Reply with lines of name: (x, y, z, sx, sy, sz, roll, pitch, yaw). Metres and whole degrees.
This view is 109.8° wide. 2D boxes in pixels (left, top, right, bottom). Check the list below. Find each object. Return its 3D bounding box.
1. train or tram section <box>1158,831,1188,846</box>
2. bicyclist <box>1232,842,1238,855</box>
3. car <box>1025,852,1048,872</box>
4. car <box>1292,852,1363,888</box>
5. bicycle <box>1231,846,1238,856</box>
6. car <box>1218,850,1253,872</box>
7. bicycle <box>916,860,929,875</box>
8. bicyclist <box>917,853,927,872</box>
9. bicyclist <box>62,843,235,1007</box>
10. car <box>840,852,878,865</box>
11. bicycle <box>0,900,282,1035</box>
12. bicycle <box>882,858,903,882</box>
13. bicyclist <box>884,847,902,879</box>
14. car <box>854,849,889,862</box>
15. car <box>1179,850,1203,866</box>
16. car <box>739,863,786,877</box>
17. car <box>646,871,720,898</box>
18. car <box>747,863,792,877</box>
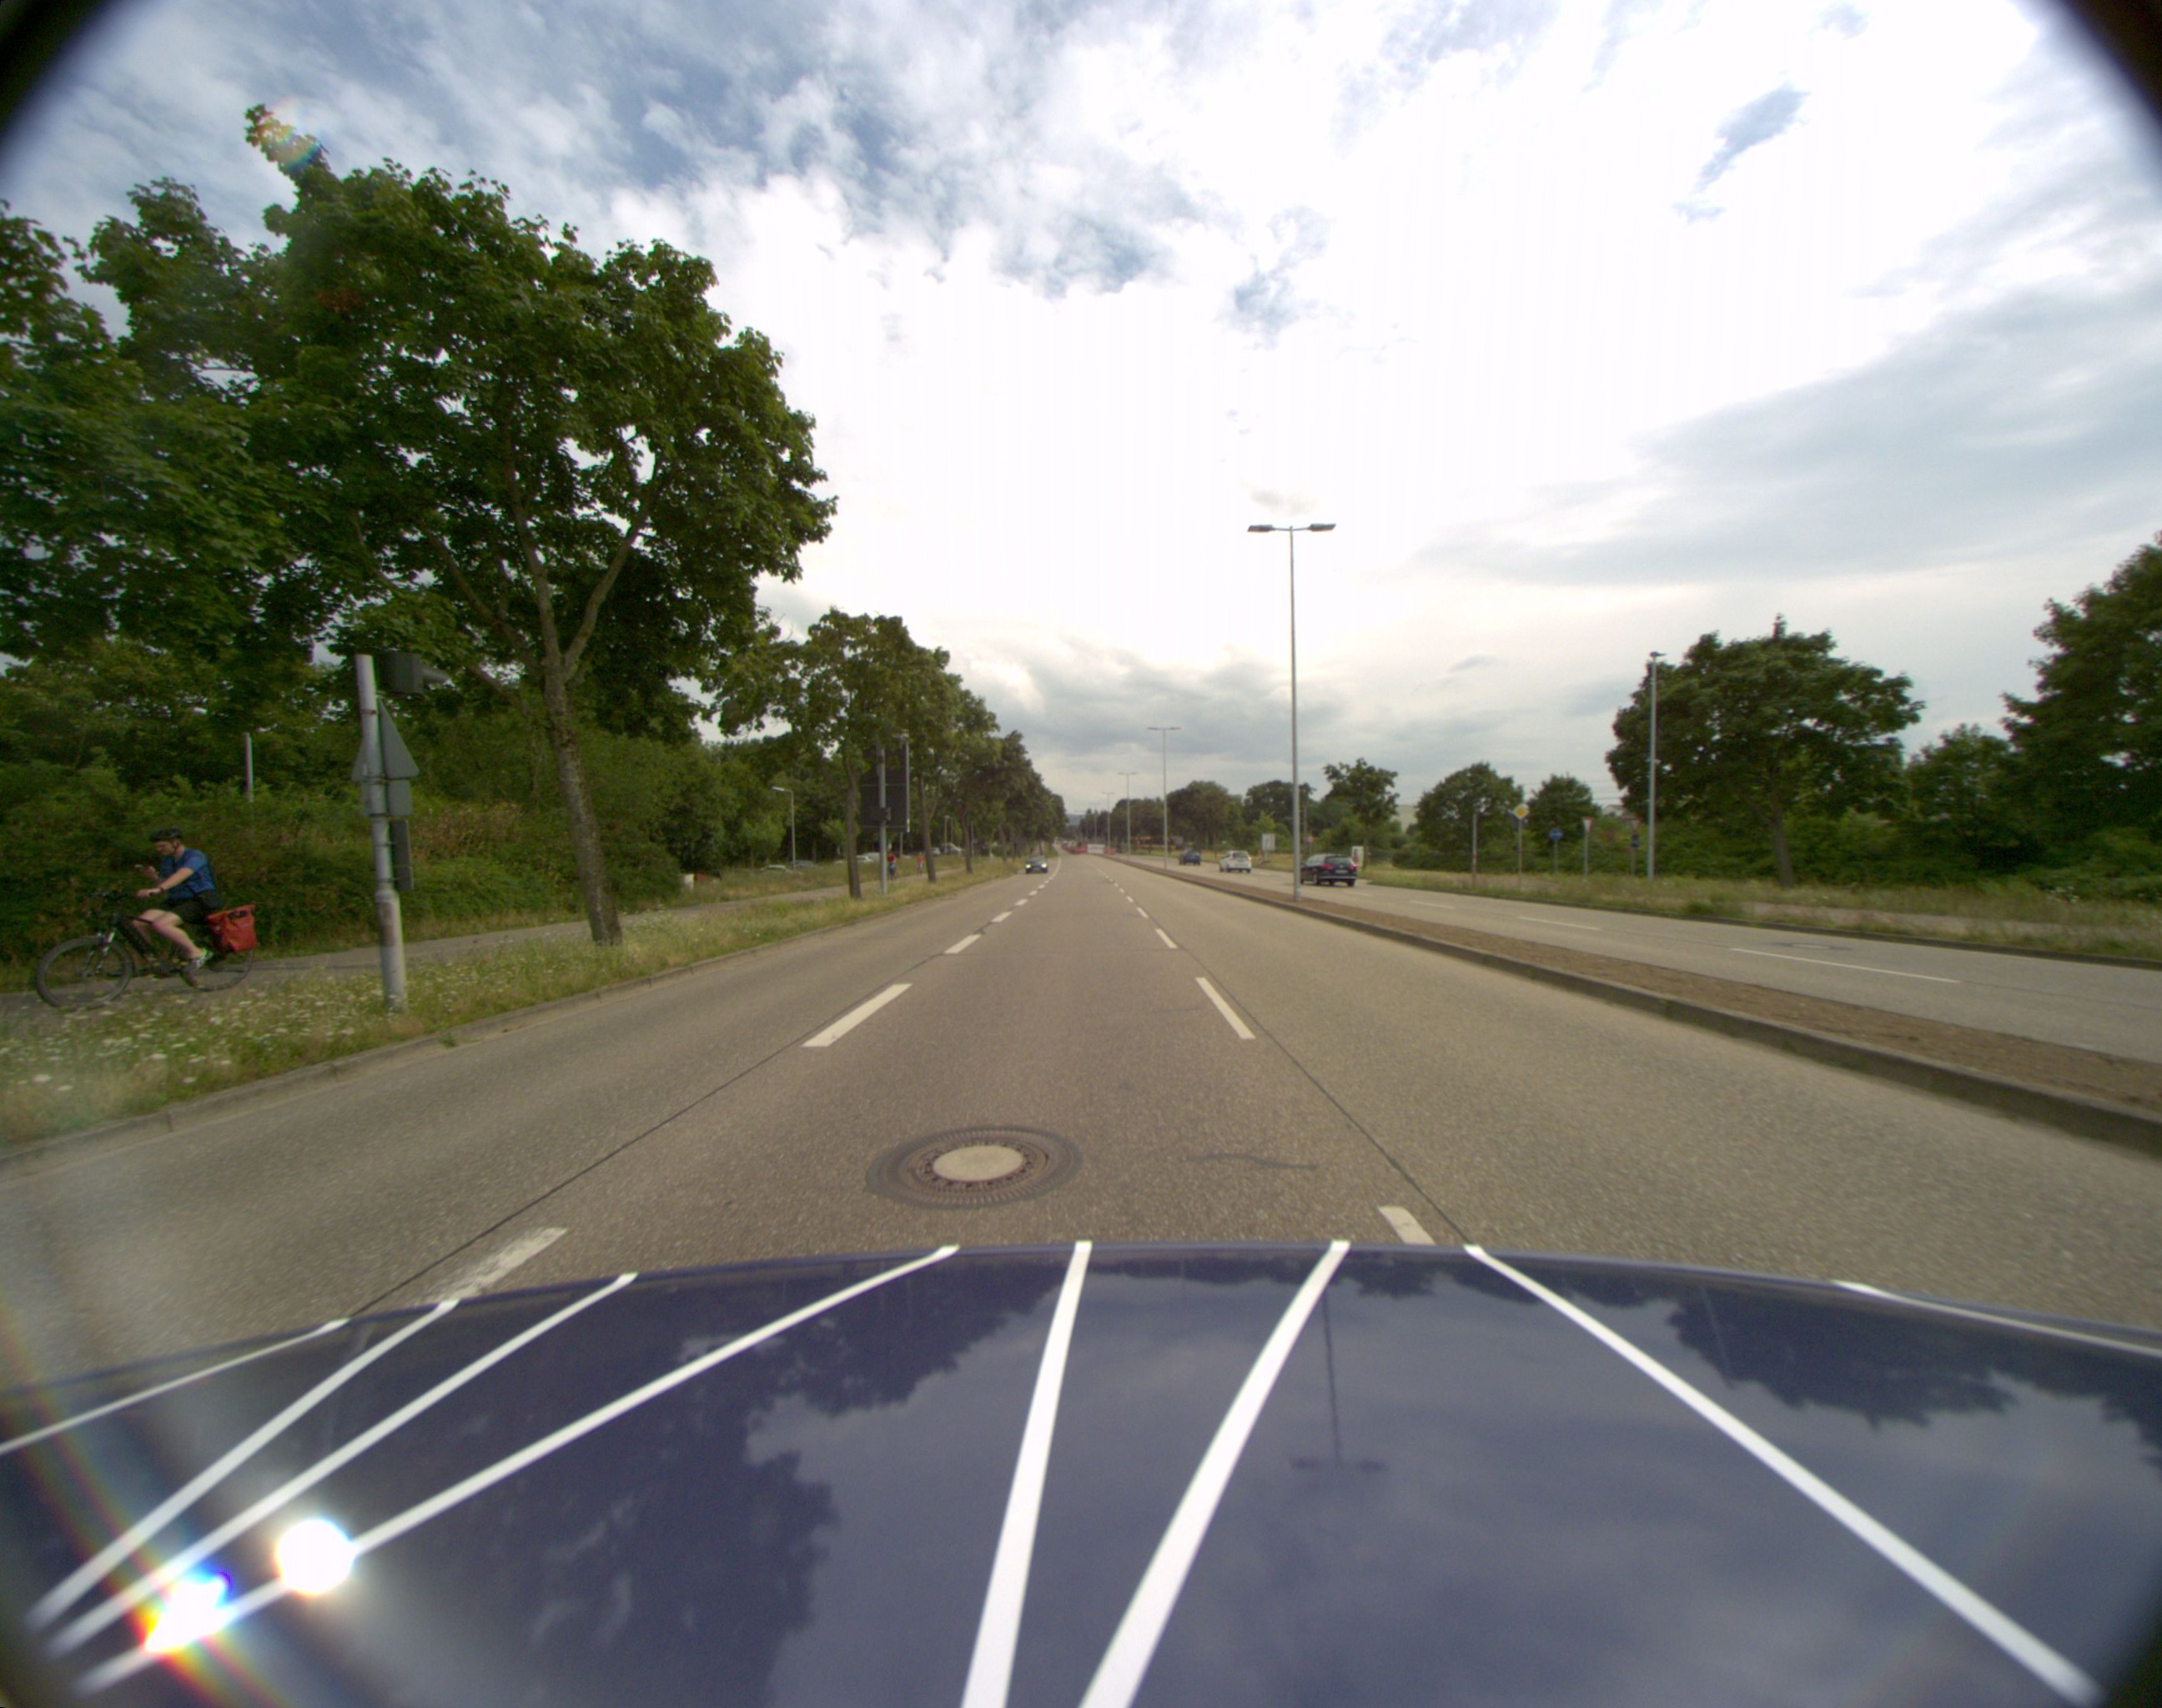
train or tram section: (21.952, -3.593, 182.840, 2.924, 3.402, 11.929, -2, 1, -15)
bicyclist: (21.822, -0.808, 107.958, 0.645, 1.821, 0.819, 0, 1, 0)
car: (-3.601, 0.634, 62.388, 1.773, 1.439, 4.322, -1, 1, -2)
car: (11.566, 0.712, 35.937, 1.773, 1.523, 4.740, 0, 1, 0)
bicycle: (21.798, -0.447, 107.933, 0.537, 1.414, 2.166, 1, 1, 0)
car: (12.176, 0.506, 60.034, 1.773, 1.644, 4.637, 1, 1, 0)
bicycle: (-10.615, 0.894, 50.970, 0.515, 0.959, 1.782, 0, 1, 0)
bicyclist: (-10.644, 0.568, 50.942, 0.540, 1.275, 0.450, -2, 2, 0)
bicyclist: (-9.962, 0.714, 8.160, 0.653, 1.648, 0.876, -2, 2, 0)
car: (-25.967, 0.497, 88.847, 3.999, 1.435, 1.650, 0, 1, -6)
bicycle: (-9.902, 1.128, 8.153, 0.575, 1.141, 1.982, 0, 0, 0)
bicycle: (-9.730, 0.824, 39.316, 0.515, 1.141, 2.231, 0, 1, 0)
bicyclist: (-9.744, 0.467, 39.432, 0.653, 1.648, 0.780, -2, 2, 0)
car: (-26.473, 0.201, 96.106, 3.999, 1.547, 1.650, 0, 1, -6)
car: (12.033, 0.424, 83.261, 1.852, 1.644, 4.563, 0, 1, 0)
car: (-27.025, 1.355, 64.527, 3.448, 1.184, 1.357, -1, 1, -6)
car: (-27.353, 2.093, 52.293, 3.997, 1.783, 1.999, 0, 1, -2)
car: (-27.244, 1.412, 66.516, 3.448, 1.184, 1.357, -1, 1, -6)
